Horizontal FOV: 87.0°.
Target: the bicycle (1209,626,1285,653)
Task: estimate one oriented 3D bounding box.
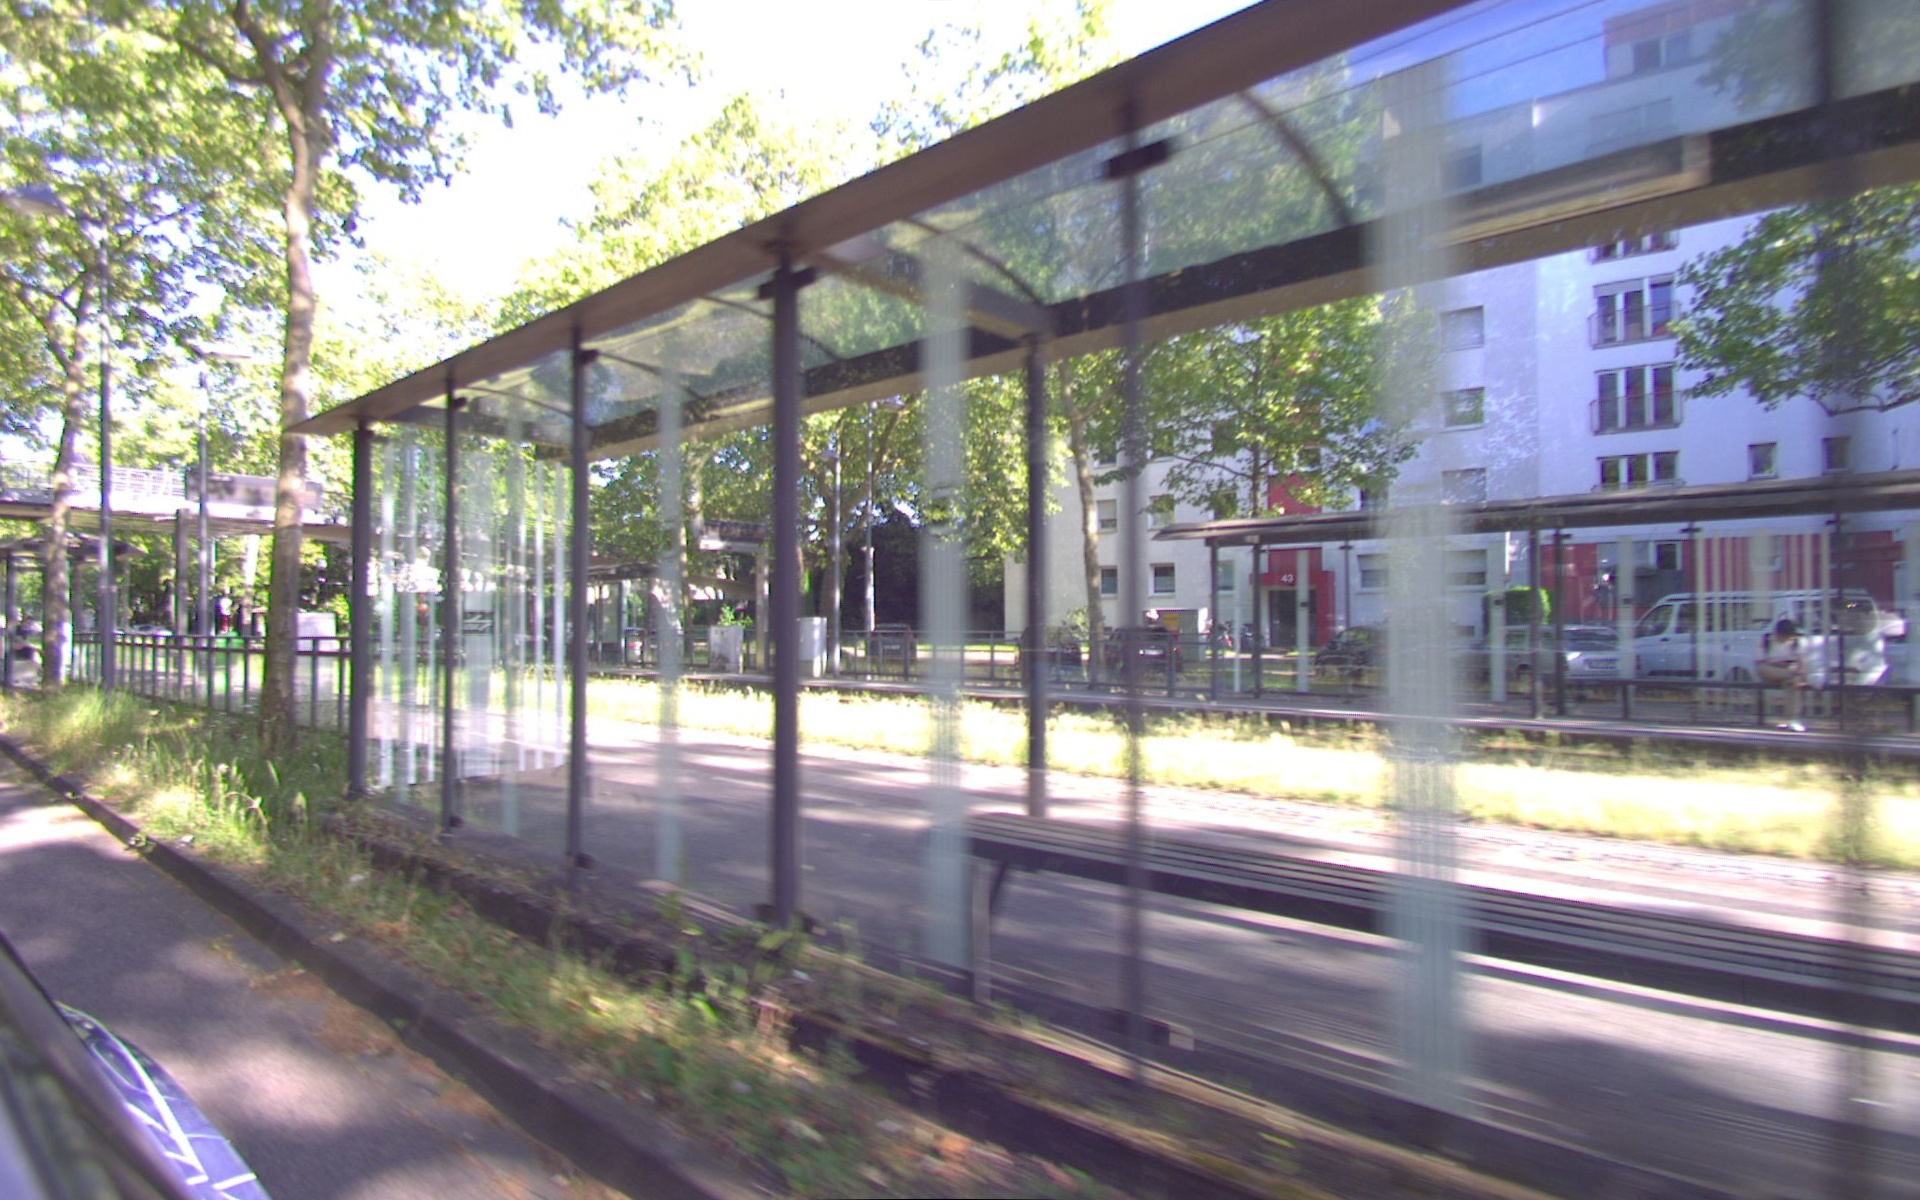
[{"bbox_3d":[10.572,1.463,37.306,2.591,0.935,0.688,-3,-2,37],"label":"bicycle"}]

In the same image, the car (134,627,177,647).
[{"bbox_3d":[-68.355,3.092,85.967,4.623,1.499,1.879,-1,2,40],"label":"car"}]

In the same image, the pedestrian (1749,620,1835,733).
[{"bbox_3d":[8.764,0.796,10.663,0.662,1.136,0.687,-1,-5,42],"label":"pedestrian"}]

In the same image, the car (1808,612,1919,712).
[{"bbox_3d":[16.646,1.020,16.697,1.664,1.623,4.063,-2,-1,-3],"label":"car"}]

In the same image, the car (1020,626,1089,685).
[{"bbox_3d":[2.631,1.534,29.000,1.677,1.439,4.197,-2,-1,2],"label":"car"}]

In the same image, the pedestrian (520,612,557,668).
[{"bbox_3d":[-11.678,1.096,28.048,0.681,1.525,0.638,-1,-3,28],"label":"pedestrian"}]

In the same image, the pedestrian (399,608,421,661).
[{"bbox_3d":[-18.577,1.159,34.181,0.477,1.784,0.504,-1,0,0],"label":"pedestrian"}]

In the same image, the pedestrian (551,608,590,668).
[{"bbox_3d":[-10.889,1.049,28.278,0.714,1.647,0.722,-1,-3,38],"label":"pedestrian"}]

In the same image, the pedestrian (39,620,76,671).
[{"bbox_3d":[-30.322,1.514,34.001,1.047,1.687,0.718,-1,-1,37],"label":"pedestrian"}]

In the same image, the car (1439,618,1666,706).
[{"bbox_3d":[11.934,1.174,20.828,1.873,1.509,4.501,-2,-1,-1],"label":"car"}]

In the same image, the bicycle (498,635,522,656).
[{"bbox_3d":[-22.184,2.247,49.888,1.685,1.016,0.429,-2,-1,41],"label":"bicycle"}]

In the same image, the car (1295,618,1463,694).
[{"bbox_3d":[9.588,1.218,23.603,1.873,1.509,4.501,-2,-1,-1],"label":"car"}]

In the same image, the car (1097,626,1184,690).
[{"bbox_3d":[4.757,1.498,27.197,1.677,1.439,4.197,-2,-1,2],"label":"car"}]

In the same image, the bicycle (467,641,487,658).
[{"bbox_3d":[-23.428,2.382,49.085,1.173,0.784,0.429,-2,-1,41],"label":"bicycle"}]

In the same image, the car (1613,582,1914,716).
[{"bbox_3d":[14.266,0.803,18.400,1.874,2.079,4.497,-2,-1,2],"label":"car"}]

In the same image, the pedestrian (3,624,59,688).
[{"bbox_3d":[-18.909,1.121,20.606,0.586,1.261,0.727,-1,0,35],"label":"pedestrian"}]

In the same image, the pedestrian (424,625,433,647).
[{"bbox_3d":[-36.967,2.489,70.404,0.526,1.502,0.589,-1,0,-25],"label":"pedestrian"}]

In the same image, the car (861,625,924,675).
[{"bbox_3d":[-2.184,1.620,33.712,1.677,1.439,4.197,-2,-1,2],"label":"car"}]

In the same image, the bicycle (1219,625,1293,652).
[{"bbox_3d":[11.056,1.459,37.867,2.591,0.935,0.688,-3,-2,37],"label":"bicycle"}]
